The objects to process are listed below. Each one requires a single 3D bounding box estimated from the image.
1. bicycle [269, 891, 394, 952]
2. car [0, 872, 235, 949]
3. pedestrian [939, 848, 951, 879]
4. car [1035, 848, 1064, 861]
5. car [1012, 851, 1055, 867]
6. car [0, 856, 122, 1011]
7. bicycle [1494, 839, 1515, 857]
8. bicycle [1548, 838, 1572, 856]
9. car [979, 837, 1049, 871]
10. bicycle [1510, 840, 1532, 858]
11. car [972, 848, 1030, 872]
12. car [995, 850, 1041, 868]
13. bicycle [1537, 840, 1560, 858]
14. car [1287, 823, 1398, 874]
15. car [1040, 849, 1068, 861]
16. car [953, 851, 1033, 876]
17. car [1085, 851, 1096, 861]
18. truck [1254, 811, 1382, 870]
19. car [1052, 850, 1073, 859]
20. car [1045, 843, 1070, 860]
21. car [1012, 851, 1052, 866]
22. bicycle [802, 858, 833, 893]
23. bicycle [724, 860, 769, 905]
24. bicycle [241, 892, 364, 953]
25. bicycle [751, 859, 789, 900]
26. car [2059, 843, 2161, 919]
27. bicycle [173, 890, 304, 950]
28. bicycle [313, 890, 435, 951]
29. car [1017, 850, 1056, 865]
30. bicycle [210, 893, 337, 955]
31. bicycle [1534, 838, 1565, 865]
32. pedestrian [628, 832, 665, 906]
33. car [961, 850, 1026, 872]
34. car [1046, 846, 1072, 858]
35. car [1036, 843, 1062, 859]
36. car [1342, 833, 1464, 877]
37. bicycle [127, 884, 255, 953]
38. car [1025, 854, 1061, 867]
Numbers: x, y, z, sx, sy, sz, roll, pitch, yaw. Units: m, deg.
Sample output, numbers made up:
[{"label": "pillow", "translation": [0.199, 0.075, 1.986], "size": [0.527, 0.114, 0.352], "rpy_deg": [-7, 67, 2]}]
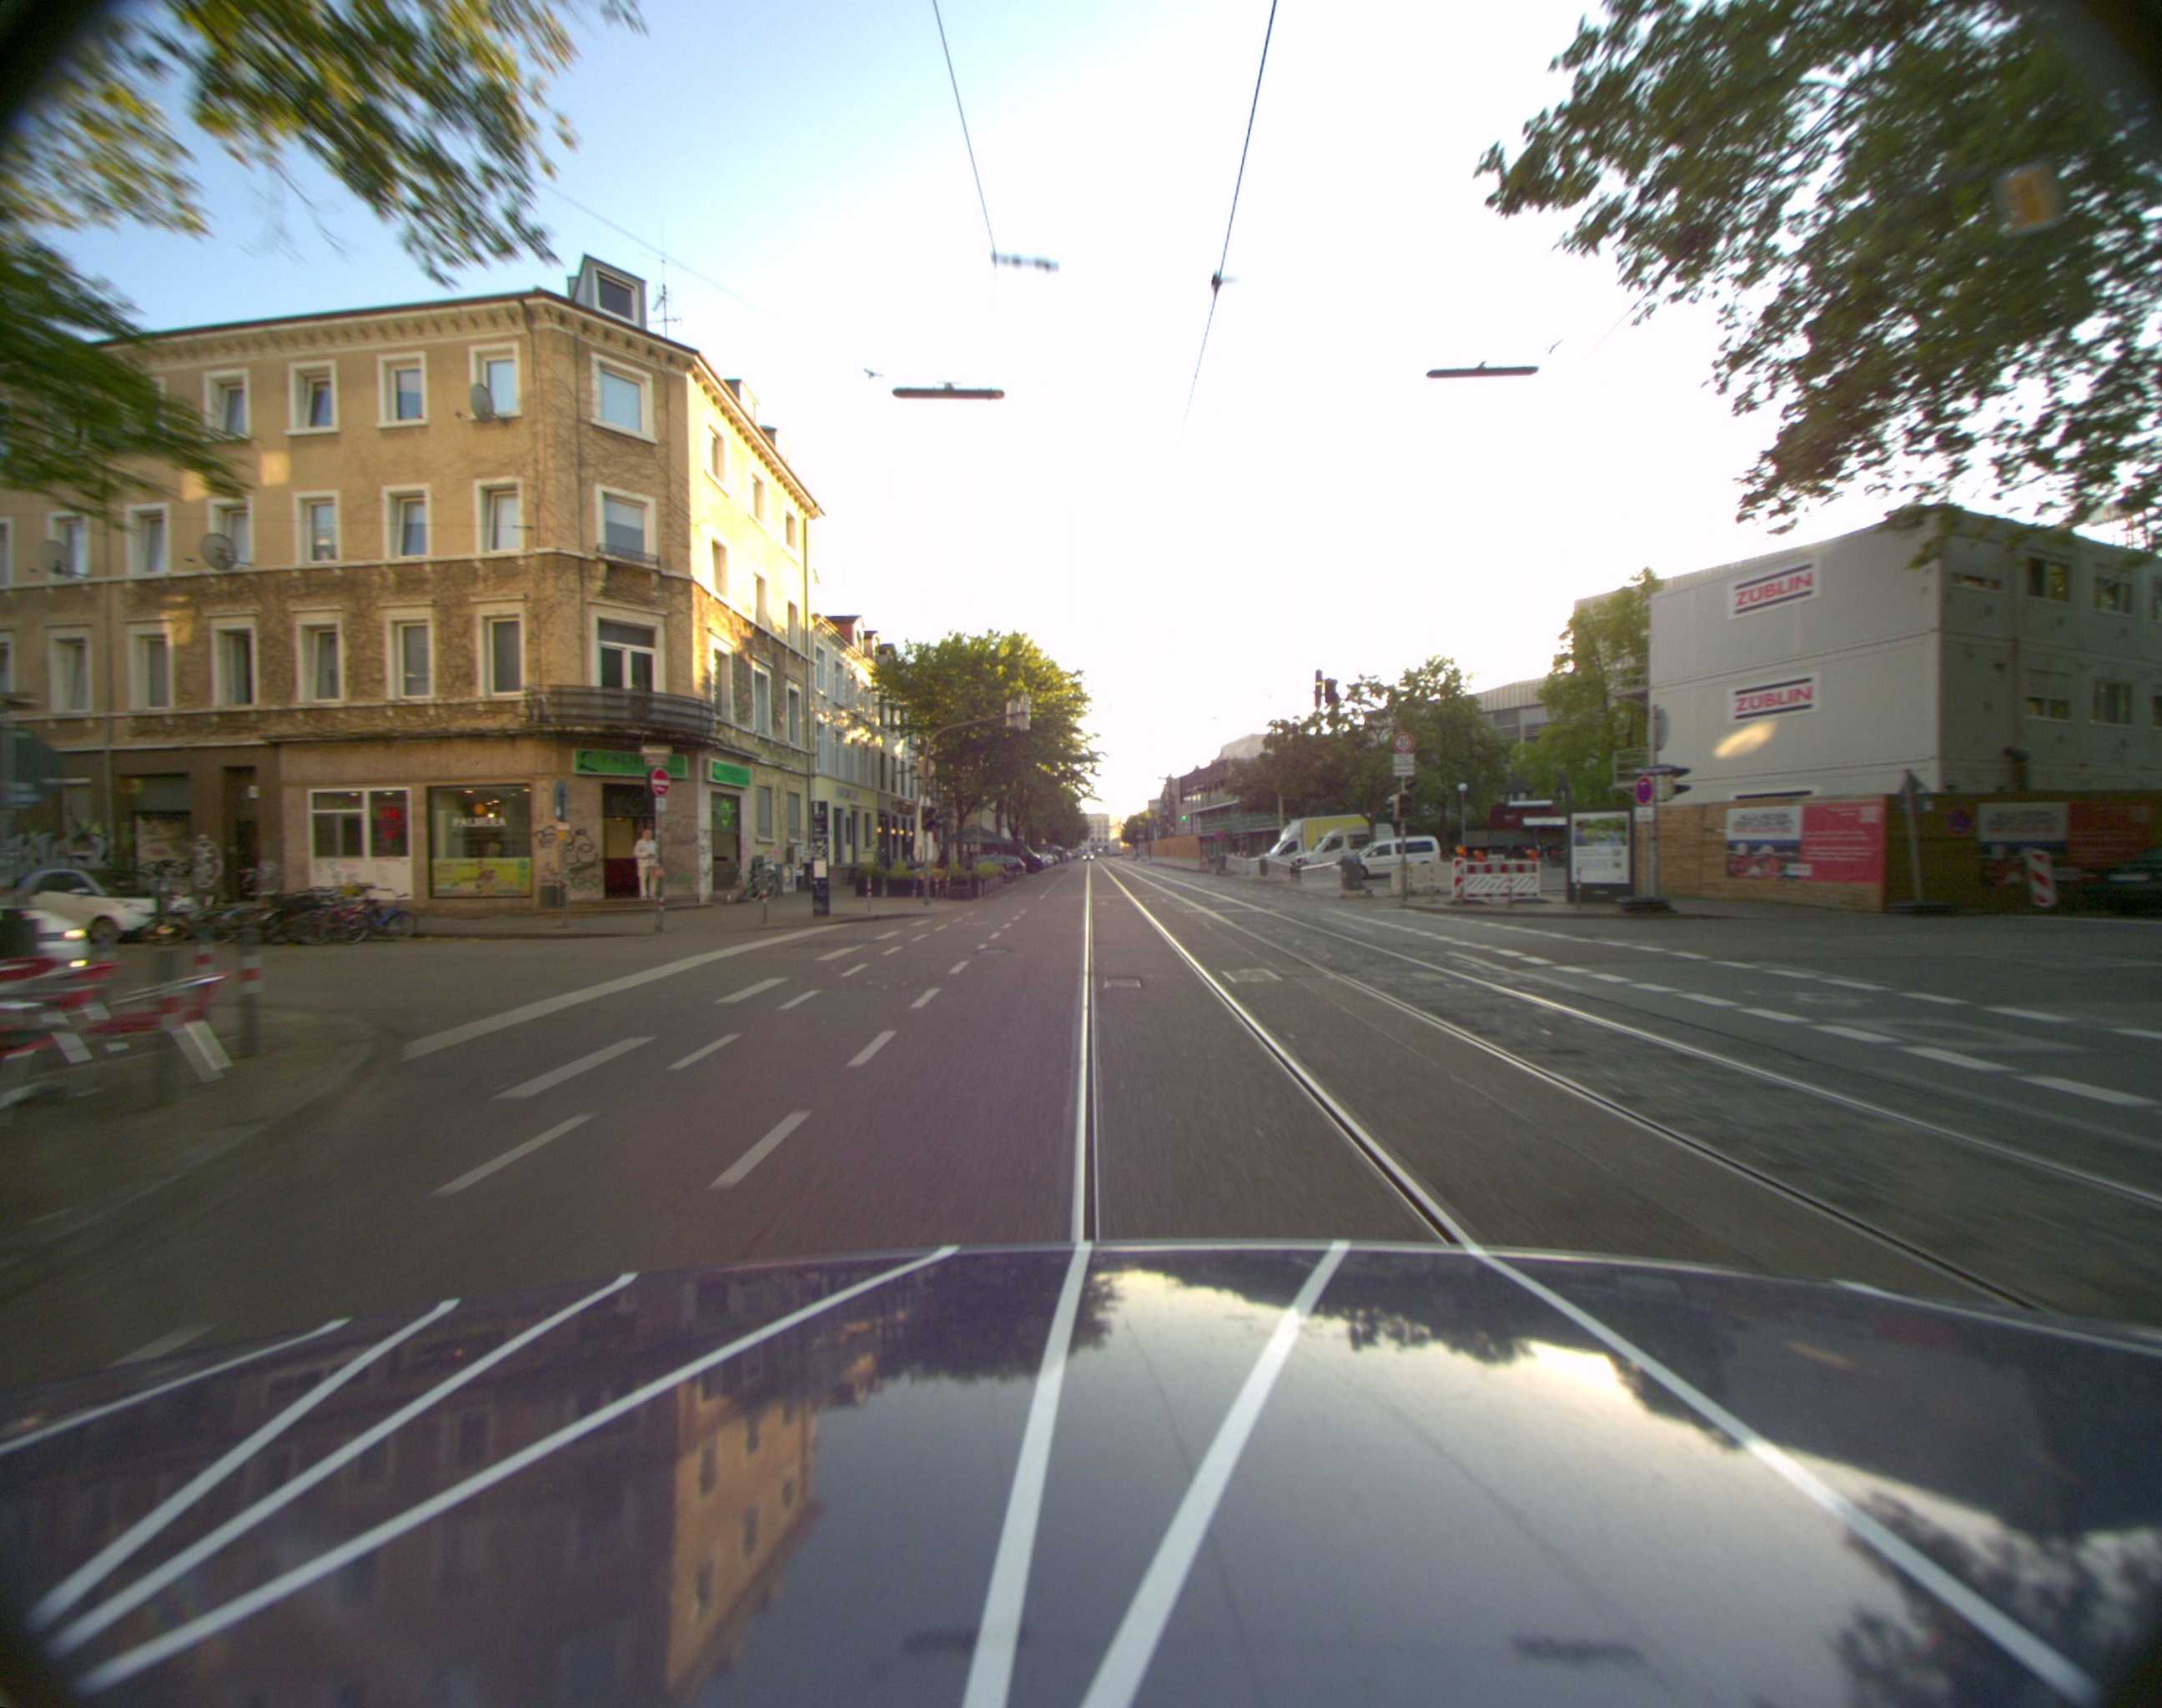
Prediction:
[{"label": "bicycle", "translation": [-14.907, 1.308, 15.183], "size": [0.609, 1.093, 1.888], "rpy_deg": [-1, -1, 1]}, {"label": "car", "translation": [-20.763, 1.159, 16.066], "size": [4.057, 1.508, 1.784], "rpy_deg": [-1, -1, 6]}, {"label": "pedestrian", "translation": [-7.619, 0.534, 42.508], "size": [0.498, 1.742, 0.646], "rpy_deg": [1, 1, 5]}, {"label": "car", "translation": [-4.568, 0.113, 111.209], "size": [3.997, 1.829, 1.720], "rpy_deg": [1, 0, -14]}, {"label": "car", "translation": [-4.580, 0.474, 73.458], "size": [3.991, 1.566, 1.722], "rpy_deg": [0, 0, 2]}, {"label": "car", "translation": [-15.064, 1.018, 9.387], "size": [4.331, 1.830, 1.907], "rpy_deg": [-2, 1, 6]}, {"label": "bicycle", "translation": [29.558, -0.412, 53.004], "size": [0.811, 1.175, 2.267], "rpy_deg": [-2, 0, 17]}, {"label": "bicycle", "translation": [32.619, -0.467, 51.727], "size": [0.811, 1.175, 2.267], "rpy_deg": [-2, 0, 17]}, {"label": "car", "translation": [-5.334, -0.024, 60.495], "size": [5.236, 2.605, 1.925], "rpy_deg": [1, 1, -16]}, {"label": "bicycle", "translation": [30.382, -0.366, 52.473], "size": [0.811, 1.175, 2.267], "rpy_deg": [-2, 0, 17]}, {"label": "car", "translation": [-5.665, 0.447, 54.130], "size": [3.992, 1.689, 1.722], "rpy_deg": [0, 0, -1]}, {"label": "car", "translation": [-5.759, 0.442, 69.445], "size": [3.991, 1.589, 1.722], "rpy_deg": [0, 0, 2]}, {"label": "bicycle", "translation": [31.904, -0.335, 51.870], "size": [0.811, 1.175, 2.267], "rpy_deg": [-2, 0, 17]}, {"label": "car", "translation": [14.133, -0.298, 41.290], "size": [5.233, 2.582, 2.229], "rpy_deg": [-2, 0, -3]}, {"label": "car", "translation": [-4.052, 0.200, 115.398], "size": [3.997, 1.760, 1.720], "rpy_deg": [1, 0, -14]}, {"label": "car", "translation": [-5.524, 0.624, 47.754], "size": [4.643, 1.508, 1.807], "rpy_deg": [1, -1, -26]}, {"label": "car", "translation": [1.703, 0.362, 140.855], "size": [1.998, 1.674, 4.000], "rpy_deg": [-2, 0, 1]}, {"label": "truck", "translation": [14.603, -0.815, 47.206], "size": [7.077, 3.408, 2.565], "rpy_deg": [-2, 0, -3]}, {"label": "car", "translation": [-3.577, 0.082, 149.725], "size": [3.991, 1.681, 1.722], "rpy_deg": [0, 0, 1]}, {"label": "car", "translation": [-3.960, -0.371, 127.149], "size": [3.997, 2.811, 1.720], "rpy_deg": [1, 0, -14]}, {"label": "car", "translation": [-5.094, 0.482, 78.530], "size": [3.996, 1.566, 1.720], "rpy_deg": [1, 0, -11]}, {"label": "bicycle", "translation": [-9.695, 0.765, 27.990], "size": [0.471, 1.203, 1.783], "rpy_deg": [-1, 1, 1]}, {"label": "bicycle", "translation": [-9.523, 0.799, 21.685], "size": [0.525, 1.203, 1.586], "rpy_deg": [-1, 1, 1]}, {"label": "bicycle", "translation": [-15.510, 1.336, 15.215], "size": [0.509, 1.093, 1.888], "rpy_deg": [-1, -1, 1]}, {"label": "bicycle", "translation": [-9.666, 0.784, 23.671], "size": [0.471, 1.203, 1.586], "rpy_deg": [-1, 1, 1]}, {"label": "car", "translation": [21.171, 0.438, 13.919], "size": [4.089, 1.352, 1.759], "rpy_deg": [-2, -2, 2]}, {"label": "bicycle", "translation": [-16.904, 1.295, 15.320], "size": [0.538, 1.093, 1.888], "rpy_deg": [-1, -1, 1]}, {"label": "bicycle", "translation": [-14.118, 1.300, 15.255], "size": [0.659, 1.093, 1.888], "rpy_deg": [-1, -1, 1]}, {"label": "car", "translation": [-4.833, 0.371, 82.479], "size": [3.997, 1.566, 1.720], "rpy_deg": [1, 0, -14]}, {"label": "bicycle", "translation": [-16.028, 1.362, 15.153], "size": [0.509, 1.093, 1.888], "rpy_deg": [-1, -1, 1]}, {"label": "bicycle", "translation": [24.435, -0.143, 39.677], "size": [0.542, 1.361, 1.978], "rpy_deg": [-1, 1, 5]}, {"label": "pedestrian", "translation": [-10.986, 0.386, 19.208], "size": [0.558, 1.821, 0.613], "rpy_deg": [-1, -2, 38]}, {"label": "car", "translation": [-5.827, 0.482, 50.413], "size": [4.121, 1.444, 1.808], "rpy_deg": [1, -1, -15]}, {"label": "car", "translation": [-3.582, -0.274, 124.769], "size": [3.997, 1.952, 1.720], "rpy_deg": [1, 0, -14]}, {"label": "car", "translation": [-5.054, -0.423, 121.049], "size": [3.991, 2.551, 1.722], "rpy_deg": [0, 0, 1]}, {"label": "car", "translation": [14.997, 0.044, 35.601], "size": [4.844, 1.862, 2.015], "rpy_deg": [-2, 0, 2]}, {"label": "bicycle", "translation": [-17.819, 1.260, 15.282], "size": [0.510, 1.273, 1.887], "rpy_deg": [-1, -1, -5]}, {"label": "car", "translation": [-4.497, 0.780, 89.144], "size": [3.997, 1.566, 1.720], "rpy_deg": [1, 0, -14]}]
